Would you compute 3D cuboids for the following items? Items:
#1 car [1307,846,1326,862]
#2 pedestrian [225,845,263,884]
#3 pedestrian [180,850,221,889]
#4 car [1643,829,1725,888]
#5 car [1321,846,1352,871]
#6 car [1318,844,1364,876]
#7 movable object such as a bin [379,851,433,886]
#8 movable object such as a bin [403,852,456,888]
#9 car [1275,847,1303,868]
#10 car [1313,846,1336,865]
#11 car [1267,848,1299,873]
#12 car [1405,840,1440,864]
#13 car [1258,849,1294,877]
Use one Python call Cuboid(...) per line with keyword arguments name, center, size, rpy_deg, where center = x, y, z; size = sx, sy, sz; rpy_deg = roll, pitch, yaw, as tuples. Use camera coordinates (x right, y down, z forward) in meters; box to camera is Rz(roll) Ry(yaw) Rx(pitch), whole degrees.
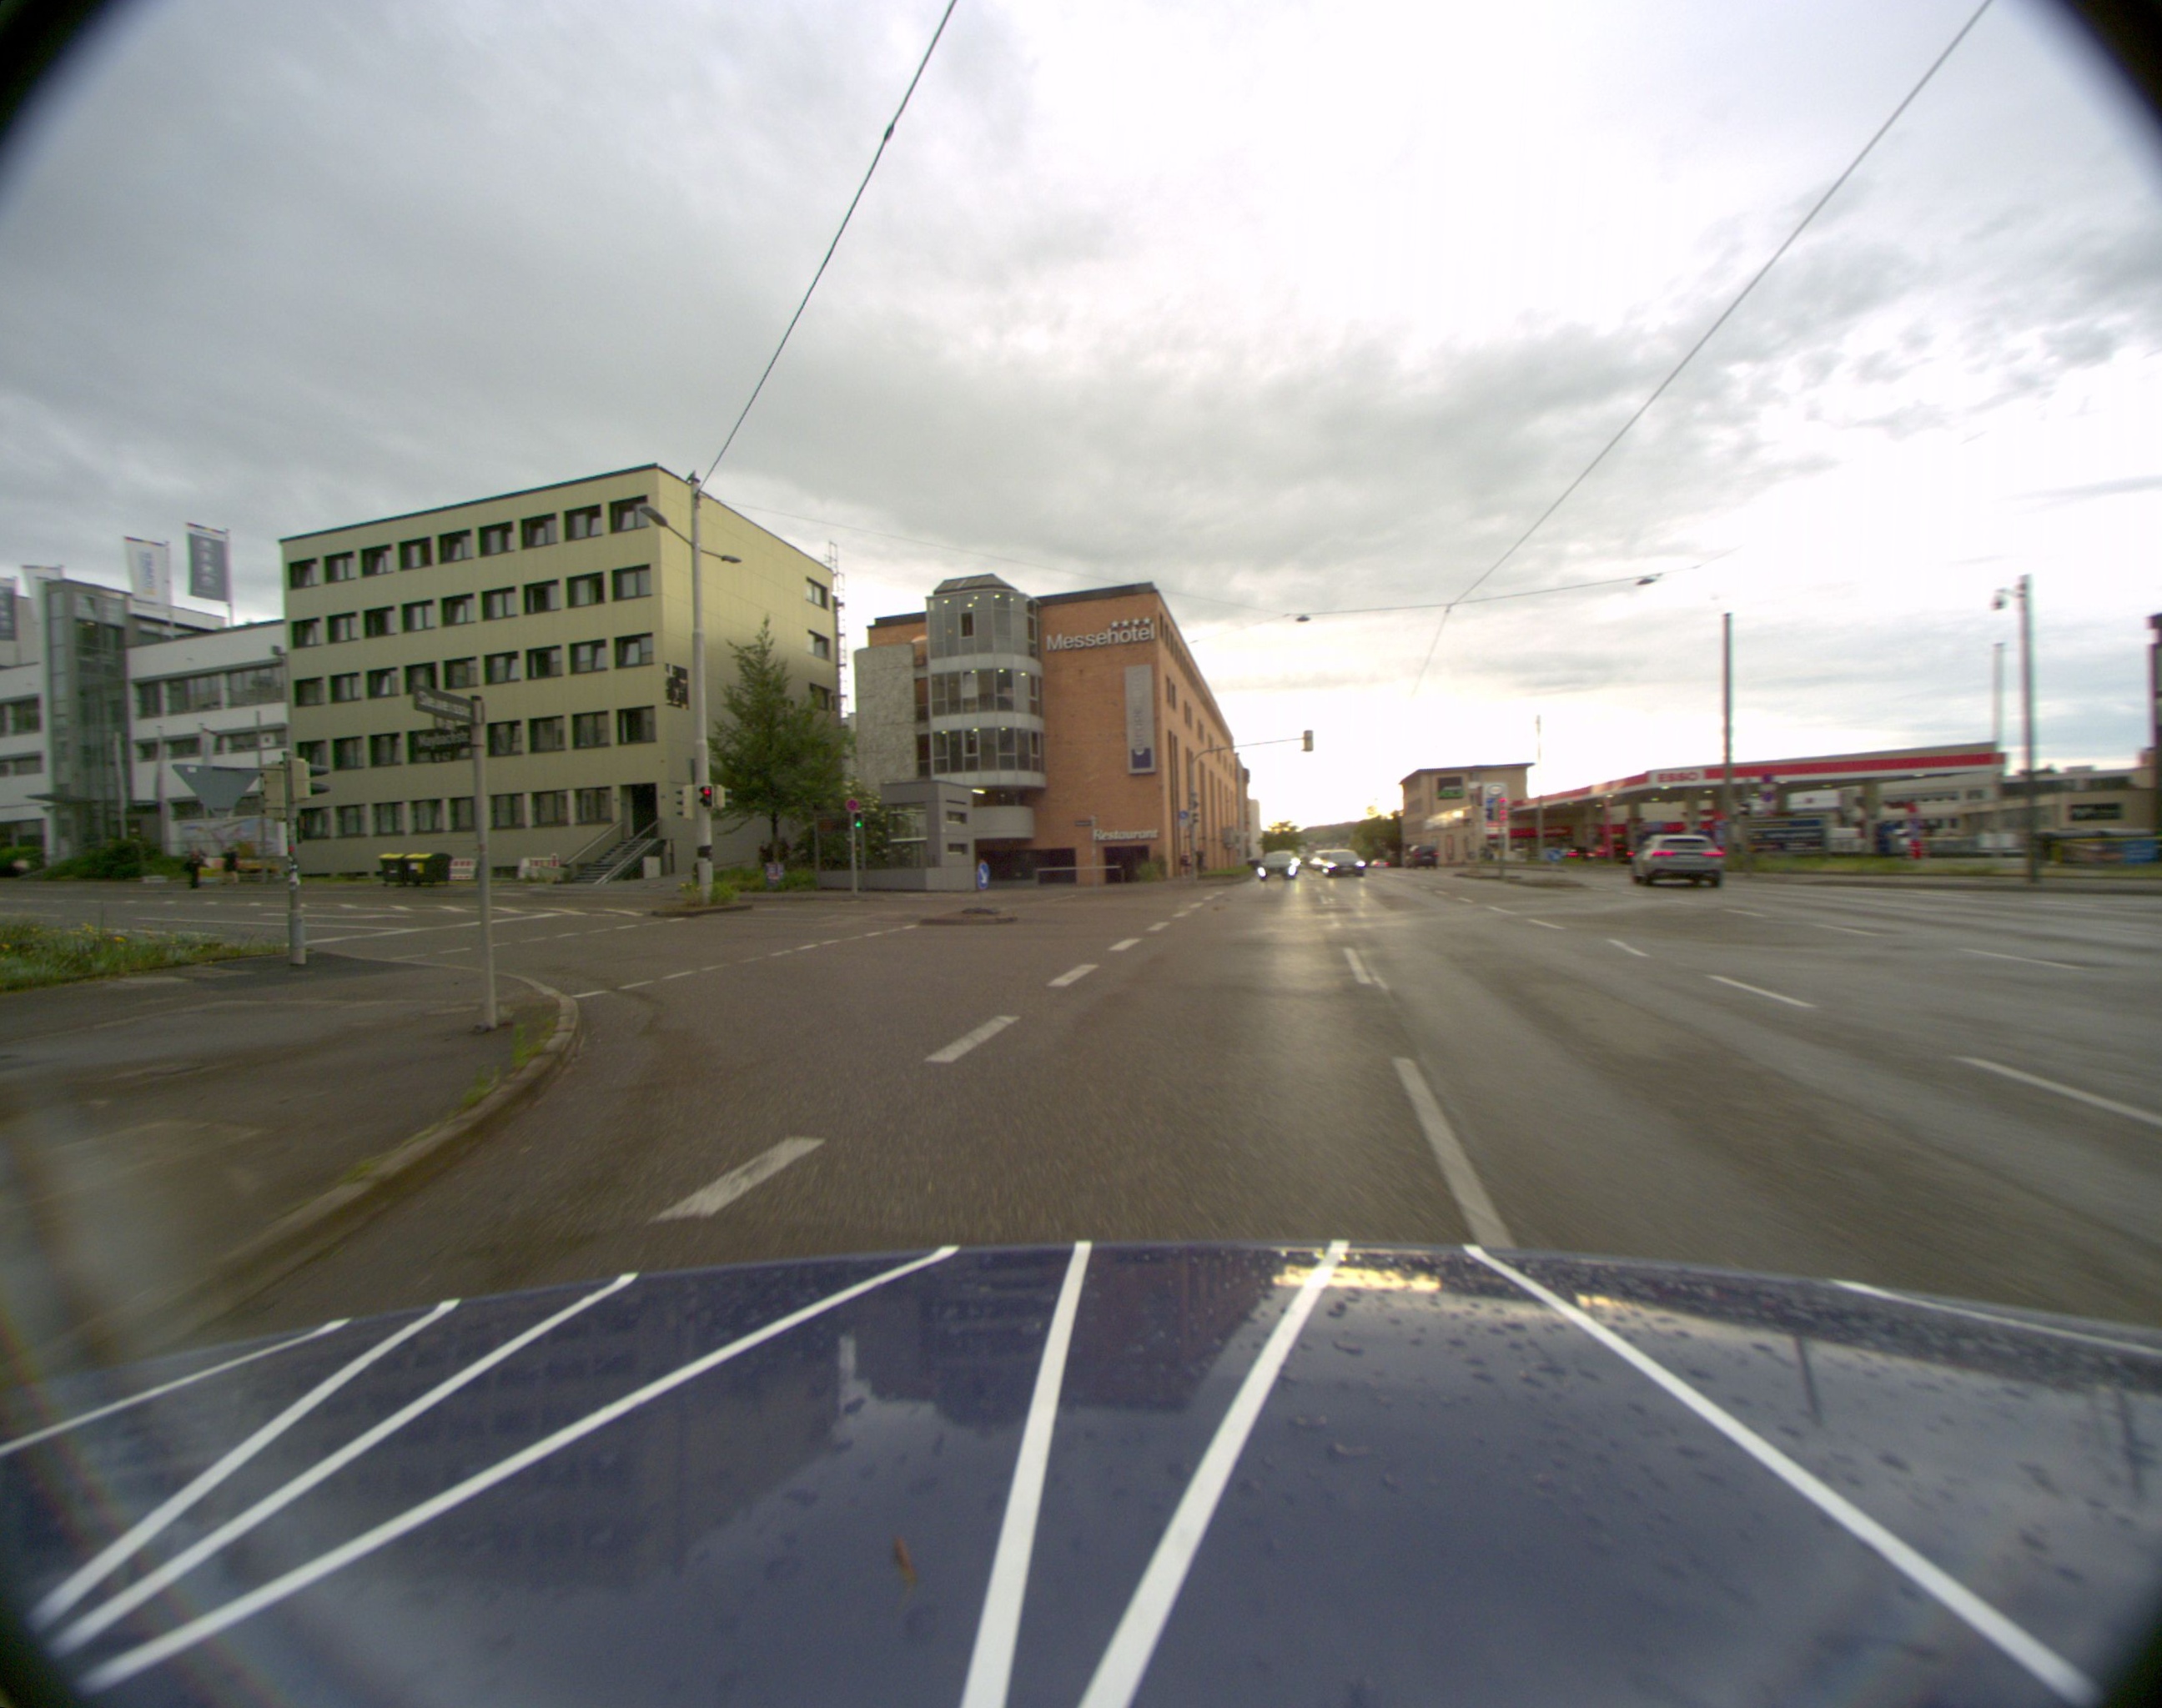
Cuboid(name="car", center=(22.949, -0.026, 73.999), size=(1.695, 1.392, 4.093), rpy_deg=(-3, 0, 18))
Cuboid(name="pedestrian", center=(-38.389, 0.464, 34.864), size=(0.940, 1.722, 0.758), rpy_deg=(1, 4, 19))
Cuboid(name="pedestrian", center=(-38.550, 0.669, 33.279), size=(0.966, 1.667, 0.770), rpy_deg=(1, 4, 17))
Cuboid(name="car", center=(19.448, 0.060, 24.459), size=(1.909, 1.623, 4.218), rpy_deg=(1, 4, 40))
Cuboid(name="car", center=(15.834, 0.228, 47.207), size=(1.695, 1.392, 4.093), rpy_deg=(-3, 0, 18))
Cuboid(name="car", center=(13.744, 0.266, 40.358), size=(1.962, 1.516, 4.266), rpy_deg=(-3, 0, 15))
Cuboid(name="movable object such as a bin", center=(-29.009, 0.612, 32.666), size=(1.427, 1.438, 1.058), rpy_deg=(1, 4, 18))
Cuboid(name="movable object such as a bin", center=(-27.653, 0.649, 32.252), size=(1.355, 1.438, 1.058), rpy_deg=(1, 4, 18))
Cuboid(name="car", center=(14.812, 0.230, 54.110), size=(1.695, 1.392, 4.093), rpy_deg=(-3, 0, 18))
Cuboid(name="car", center=(19.574, 0.130, 61.107), size=(1.695, 1.392, 4.093), rpy_deg=(-3, 0, 18))
Cuboid(name="car", center=(12.577, 0.384, 47.114), size=(1.695, 1.392, 4.093), rpy_deg=(-3, 0, 18))
Cuboid(name="car", center=(26.395, -0.202, 58.858), size=(1.855, 1.758, 4.134), rpy_deg=(0, 2, 16))
Cuboid(name="car", center=(10.355, 0.456, 40.199), size=(1.647, 1.313, 4.004), rpy_deg=(-3, 0, 16))
